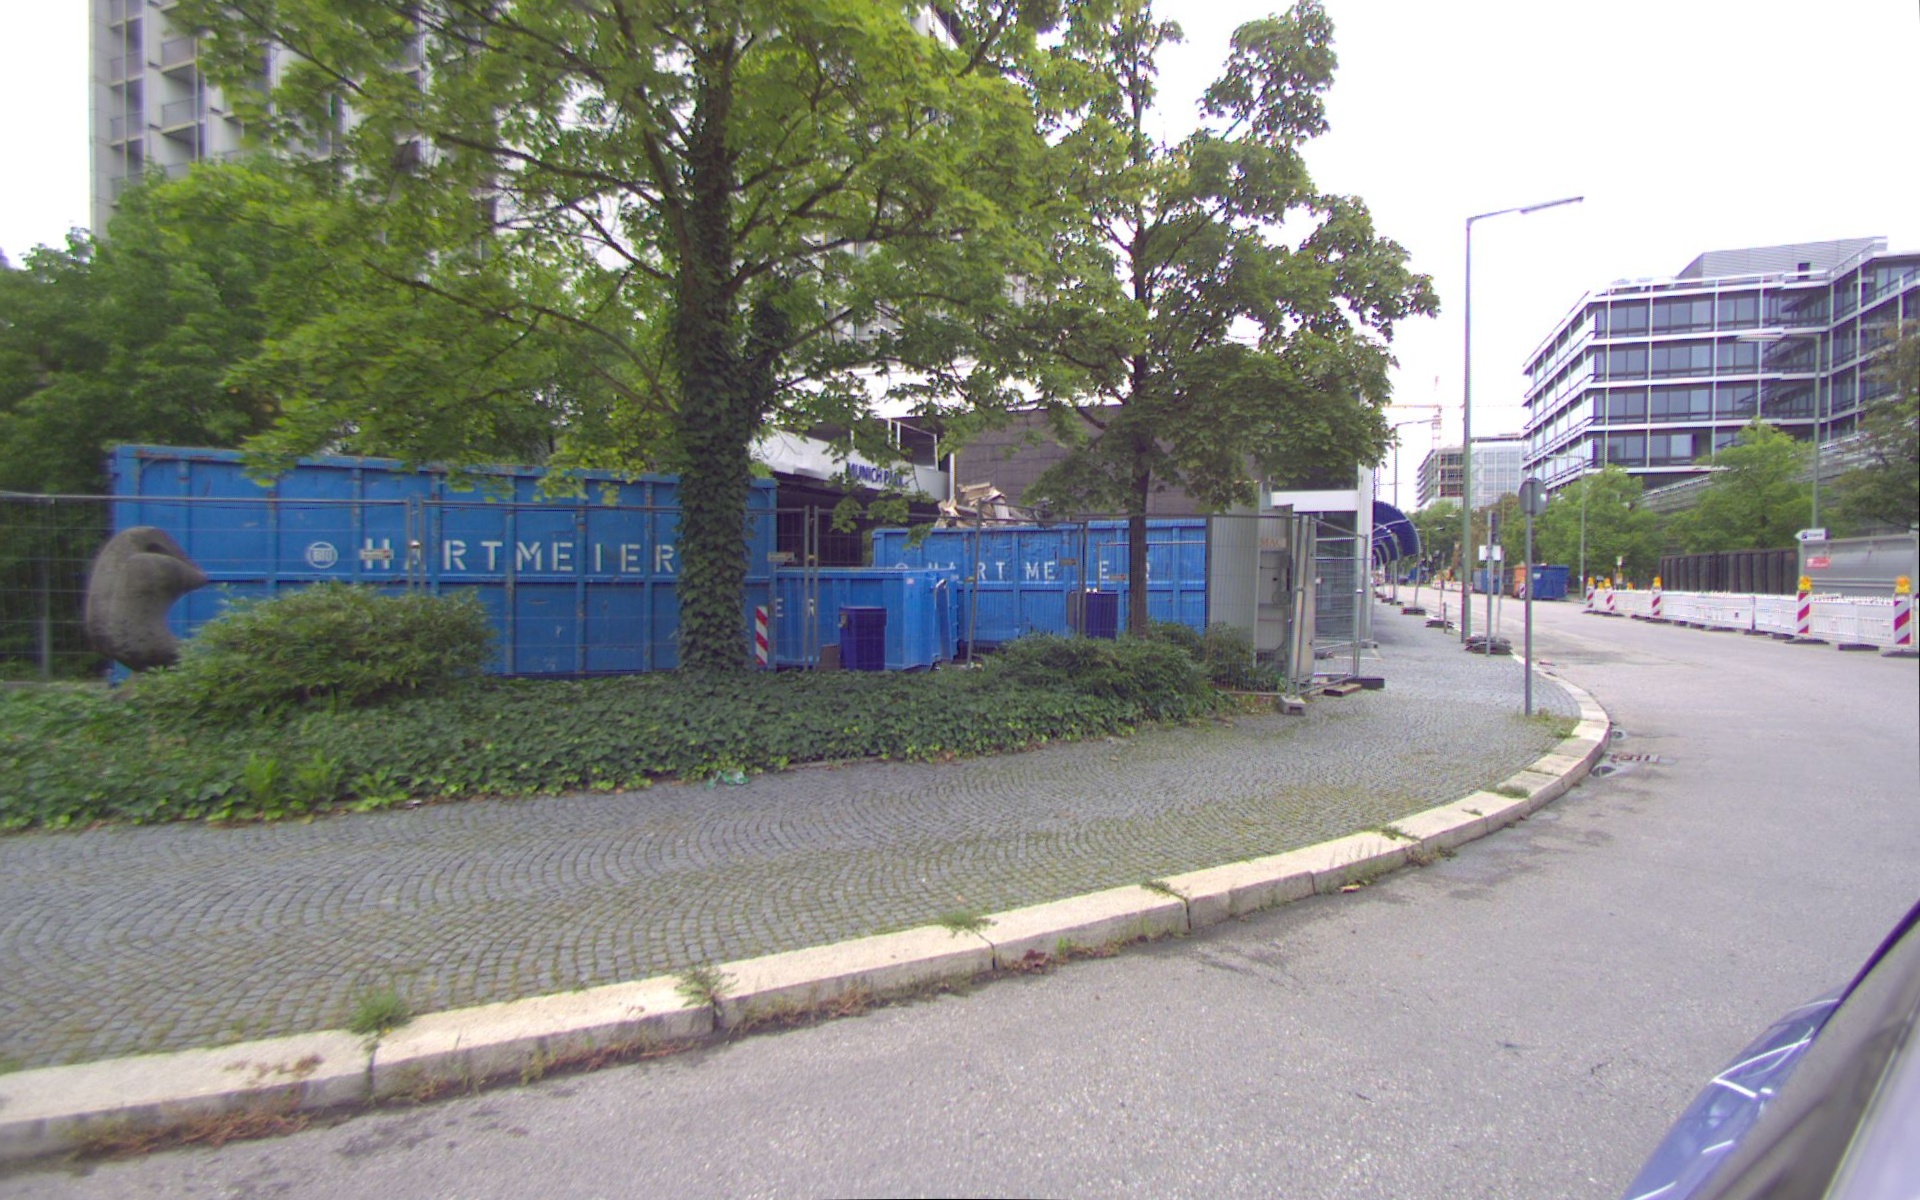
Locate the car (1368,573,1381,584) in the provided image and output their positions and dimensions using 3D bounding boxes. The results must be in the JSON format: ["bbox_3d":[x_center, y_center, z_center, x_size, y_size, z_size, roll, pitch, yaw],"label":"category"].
[{"bbox_3d":[66.777,-3.449,162.839,1.892,1.657,3.970,1,2,23],"label":"car"}]

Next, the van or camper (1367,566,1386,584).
[{"bbox_3d":[69.360,-4.181,168.508,2.640,2.801,6.859,1,2,24],"label":"van or camper"}]

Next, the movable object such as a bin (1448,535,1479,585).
[{"bbox_3d":[66.980,-5.232,134.848,3.209,6.401,8.271,1,1,23],"label":"movable object such as a bin"}]
